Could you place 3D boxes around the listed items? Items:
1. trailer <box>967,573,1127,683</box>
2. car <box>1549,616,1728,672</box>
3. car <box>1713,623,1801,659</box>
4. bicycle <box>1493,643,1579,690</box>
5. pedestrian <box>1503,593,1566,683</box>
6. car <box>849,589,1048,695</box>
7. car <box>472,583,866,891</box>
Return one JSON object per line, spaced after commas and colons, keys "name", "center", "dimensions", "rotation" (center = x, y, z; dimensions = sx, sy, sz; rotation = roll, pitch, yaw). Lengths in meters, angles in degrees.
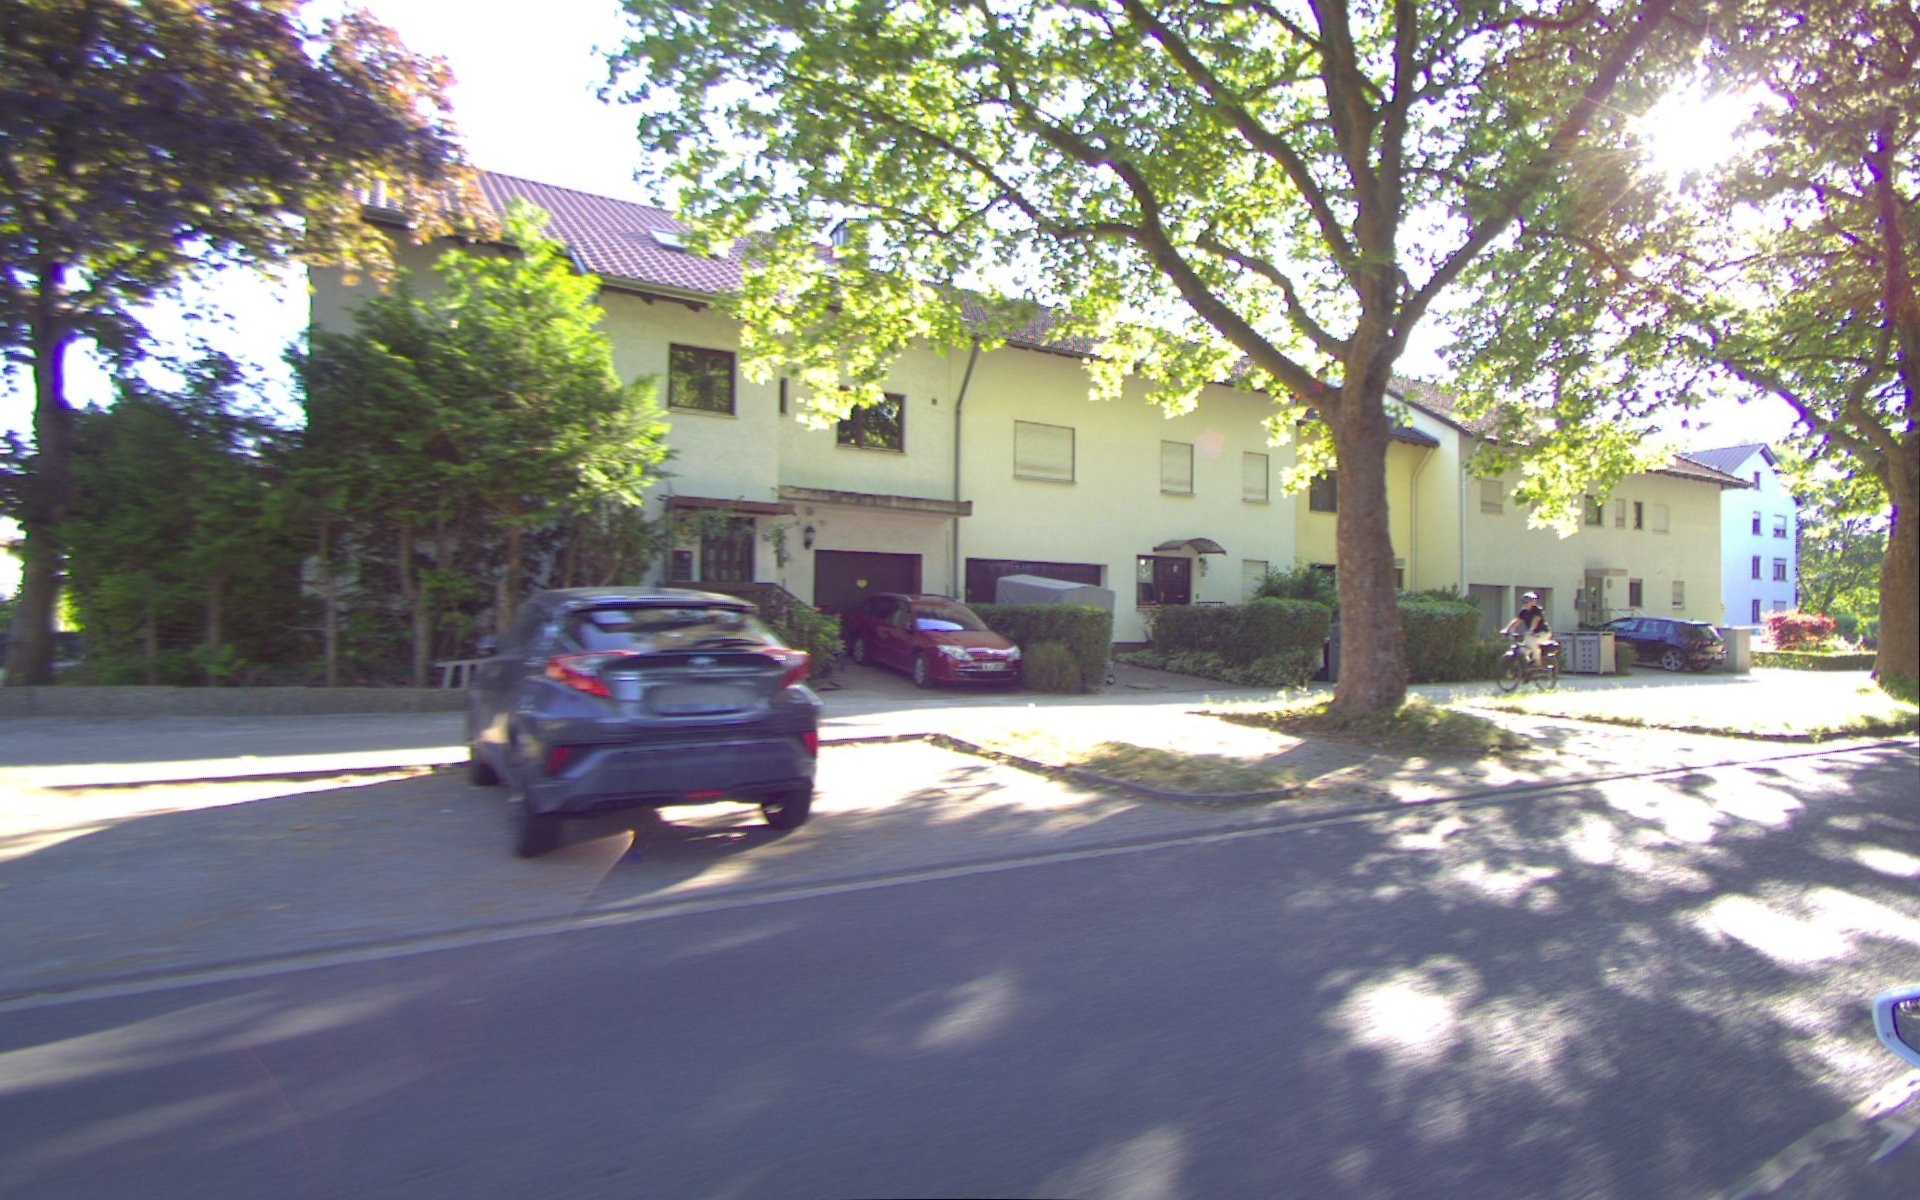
{"name": "trailer", "center": [1.736, 0.489, 21.046], "dimensions": [1.624, 1.952, 3.435], "rotation": [-1, 4, -30]}
{"name": "car", "center": [19.894, 1.249, 29.608], "dimensions": [1.877, 1.483, 3.971], "rotation": [1, -1, -28]}
{"name": "car", "center": [37.543, 1.908, 47.306], "dimensions": [3.954, 1.596, 1.983], "rotation": [1, 0, -31]}
{"name": "bicycle", "center": [11.413, 1.301, 19.890], "dimensions": [2.130, 0.892, 0.467], "rotation": [1, -1, -30]}
{"name": "pedestrian", "center": [11.382, 0.748, 19.896], "dimensions": [1.052, 1.739, 0.614], "rotation": [1, -1, -30]}
{"name": "car", "center": [-0.335, 0.680, 18.424], "dimensions": [1.976, 1.497, 3.968], "rotation": [1, 3, -29]}
{"name": "car", "center": [-2.329, 0.689, 7.194], "dimensions": [1.796, 1.538, 3.968], "rotation": [1, 0, -30]}
